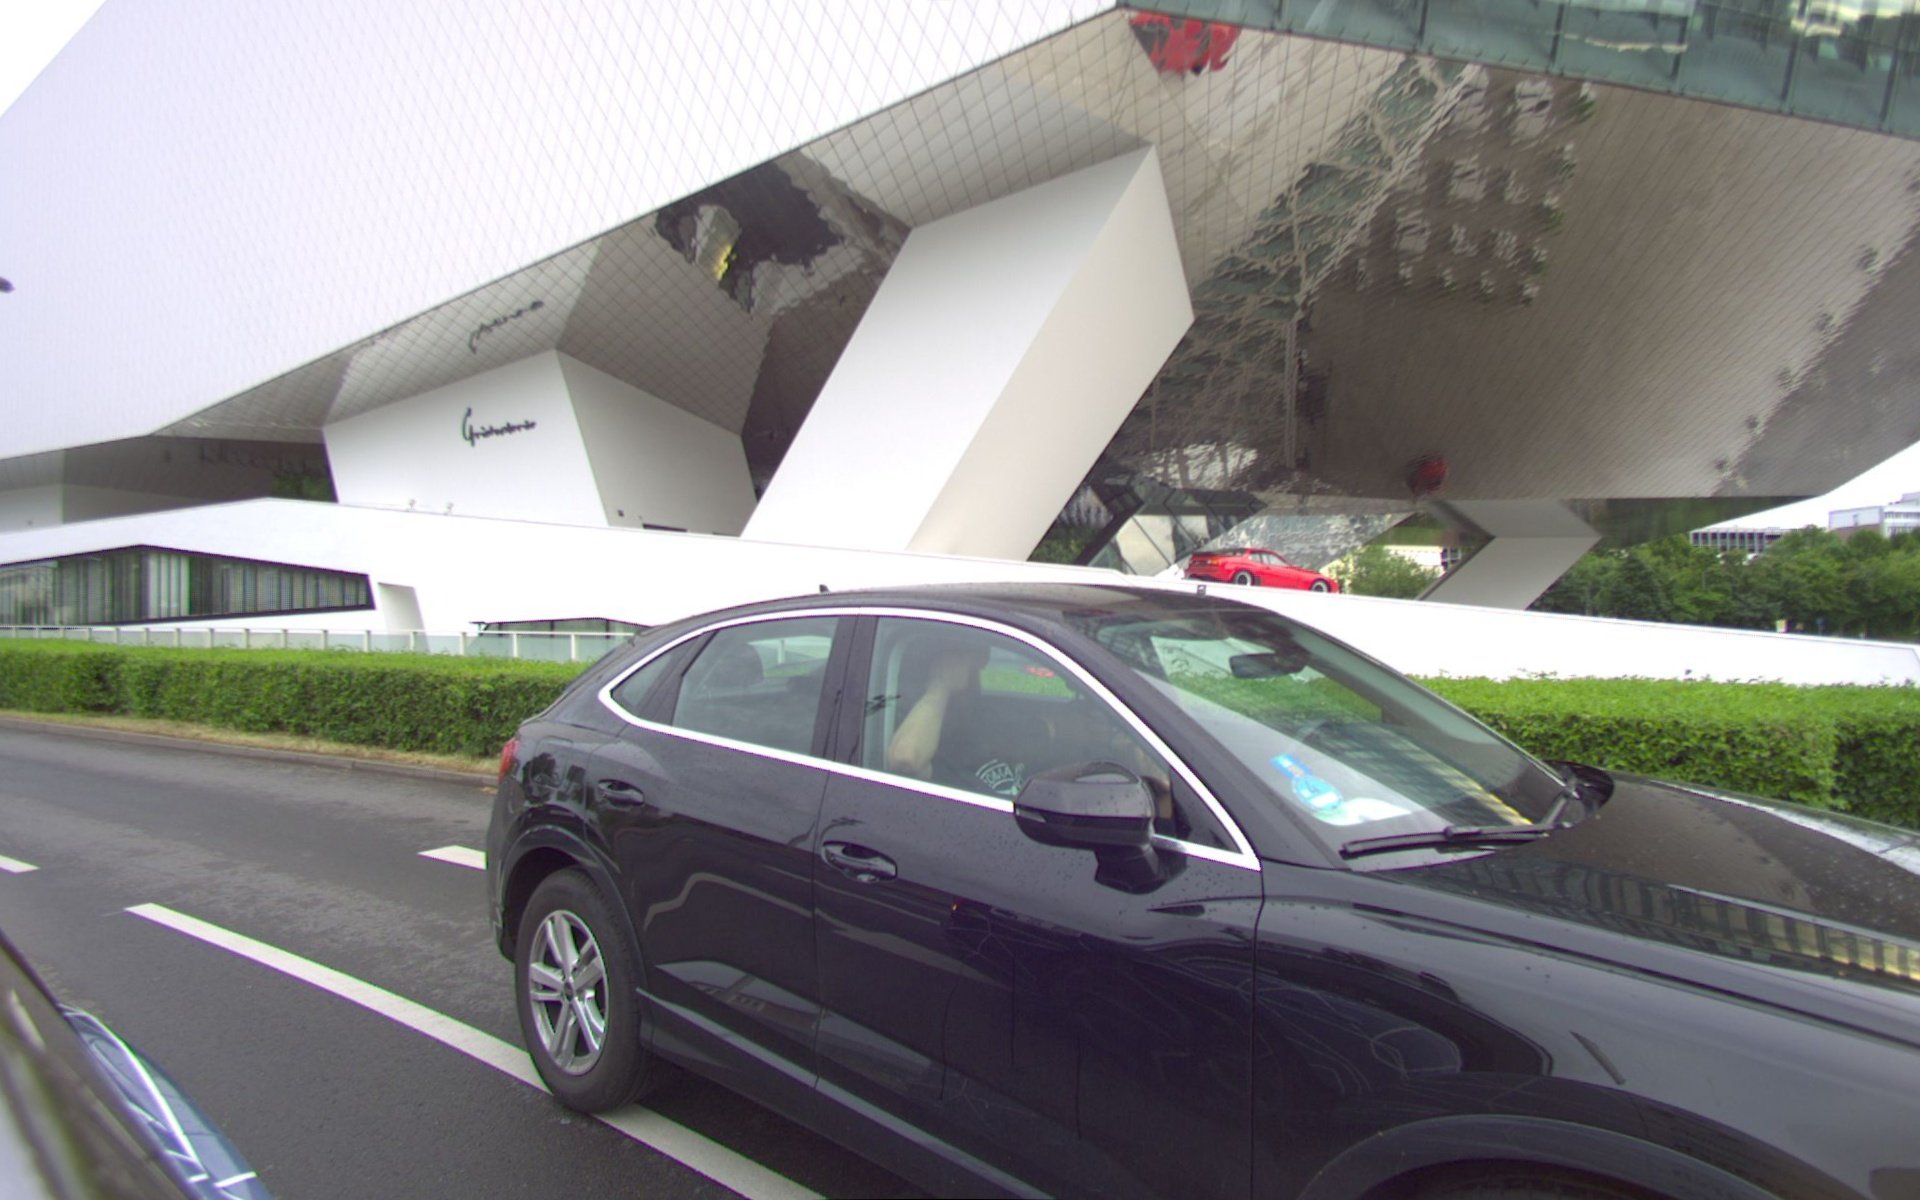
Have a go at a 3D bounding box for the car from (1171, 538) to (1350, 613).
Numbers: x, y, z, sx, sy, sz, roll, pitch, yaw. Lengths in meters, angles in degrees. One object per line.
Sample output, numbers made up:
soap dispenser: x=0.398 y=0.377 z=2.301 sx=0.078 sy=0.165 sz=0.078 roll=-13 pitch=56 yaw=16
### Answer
car: x=8.187 y=-0.612 z=27.698 sx=4.175 sy=1.395 sz=2.006 roll=7 pitch=-4 yaw=-16

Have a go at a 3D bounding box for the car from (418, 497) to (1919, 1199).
car: x=0.374 y=0.677 z=2.680 sx=4.392 sy=1.529 sz=1.734 roll=-1 pitch=0 yaw=41

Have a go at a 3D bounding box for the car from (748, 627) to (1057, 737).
car: x=-0.802 y=1.052 z=14.055 sx=3.975 sy=1.347 sz=1.711 roll=-1 pitch=-2 yaw=24
